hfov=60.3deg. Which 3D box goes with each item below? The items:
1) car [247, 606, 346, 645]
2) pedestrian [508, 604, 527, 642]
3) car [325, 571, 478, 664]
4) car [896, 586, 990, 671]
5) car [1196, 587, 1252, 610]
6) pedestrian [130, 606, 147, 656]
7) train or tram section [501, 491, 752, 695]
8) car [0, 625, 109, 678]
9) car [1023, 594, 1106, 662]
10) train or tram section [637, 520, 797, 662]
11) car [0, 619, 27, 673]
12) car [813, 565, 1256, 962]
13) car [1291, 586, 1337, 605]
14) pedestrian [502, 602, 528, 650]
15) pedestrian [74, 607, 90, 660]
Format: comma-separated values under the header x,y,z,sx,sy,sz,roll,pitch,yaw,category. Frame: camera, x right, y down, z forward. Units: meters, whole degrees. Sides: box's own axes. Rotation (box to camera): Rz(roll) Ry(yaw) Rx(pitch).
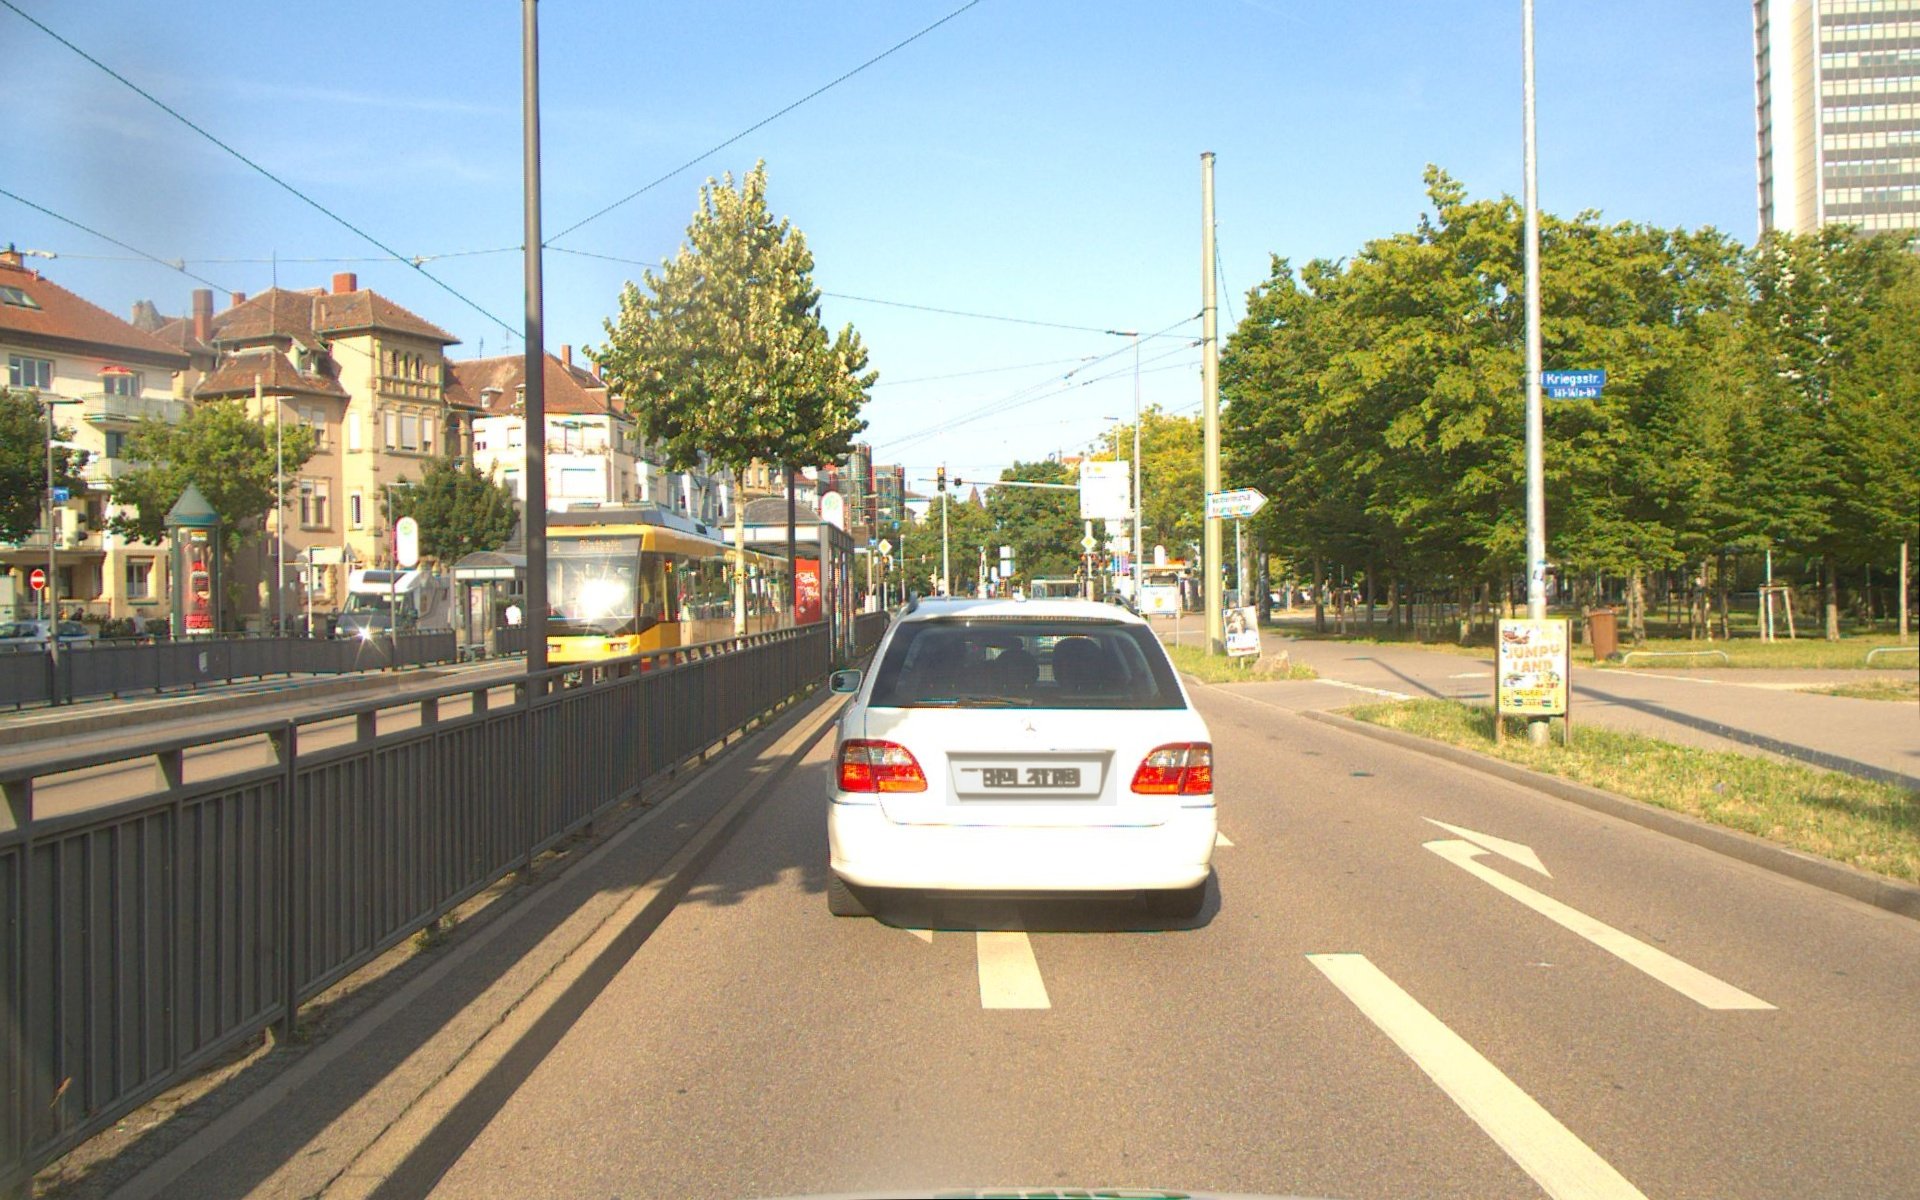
x,y,z,sx,sy,sz,roll,pitch,yaw,category
-31.131,1.201,77.620,3.903,1.780,2.001,0,0,17,car
-21.232,1.105,79.334,0.651,1.784,0.746,-1,0,3,pedestrian
-17.932,0.505,53.581,2.544,2.783,7.466,-1,0,-1,car
-0.309,0.569,35.965,1.750,1.719,4.002,-1,0,4,car
20.930,-0.096,131.169,3.907,1.680,1.999,-2,0,25,car
-33.578,1.256,67.625,0.412,2.049,0.434,-1,0,18,pedestrian
-6.633,-0.188,35.354,2.791,3.540,13.198,0,1,0,train or tram section
-26.818,1.470,47.482,3.902,1.422,2.002,0,0,14,car
2.653,0.670,42.202,1.990,1.633,4.002,-1,0,3,car
-6.782,-0.275,48.305,2.791,3.540,13.198,-1,0,0,train or tram section
-27.652,1.261,44.723,3.902,1.422,2.002,0,0,14,car
0.284,0.646,8.571,1.722,1.530,4.000,-1,0,0,car
34.019,-0.417,158.855,3.941,1.680,1.982,-2,0,-28,car
-16.770,0.985,62.349,0.871,1.784,0.744,-1,0,-12,pedestrian
-33.744,1.288,63.572,0.374,2.049,0.408,-1,0,18,pedestrian
